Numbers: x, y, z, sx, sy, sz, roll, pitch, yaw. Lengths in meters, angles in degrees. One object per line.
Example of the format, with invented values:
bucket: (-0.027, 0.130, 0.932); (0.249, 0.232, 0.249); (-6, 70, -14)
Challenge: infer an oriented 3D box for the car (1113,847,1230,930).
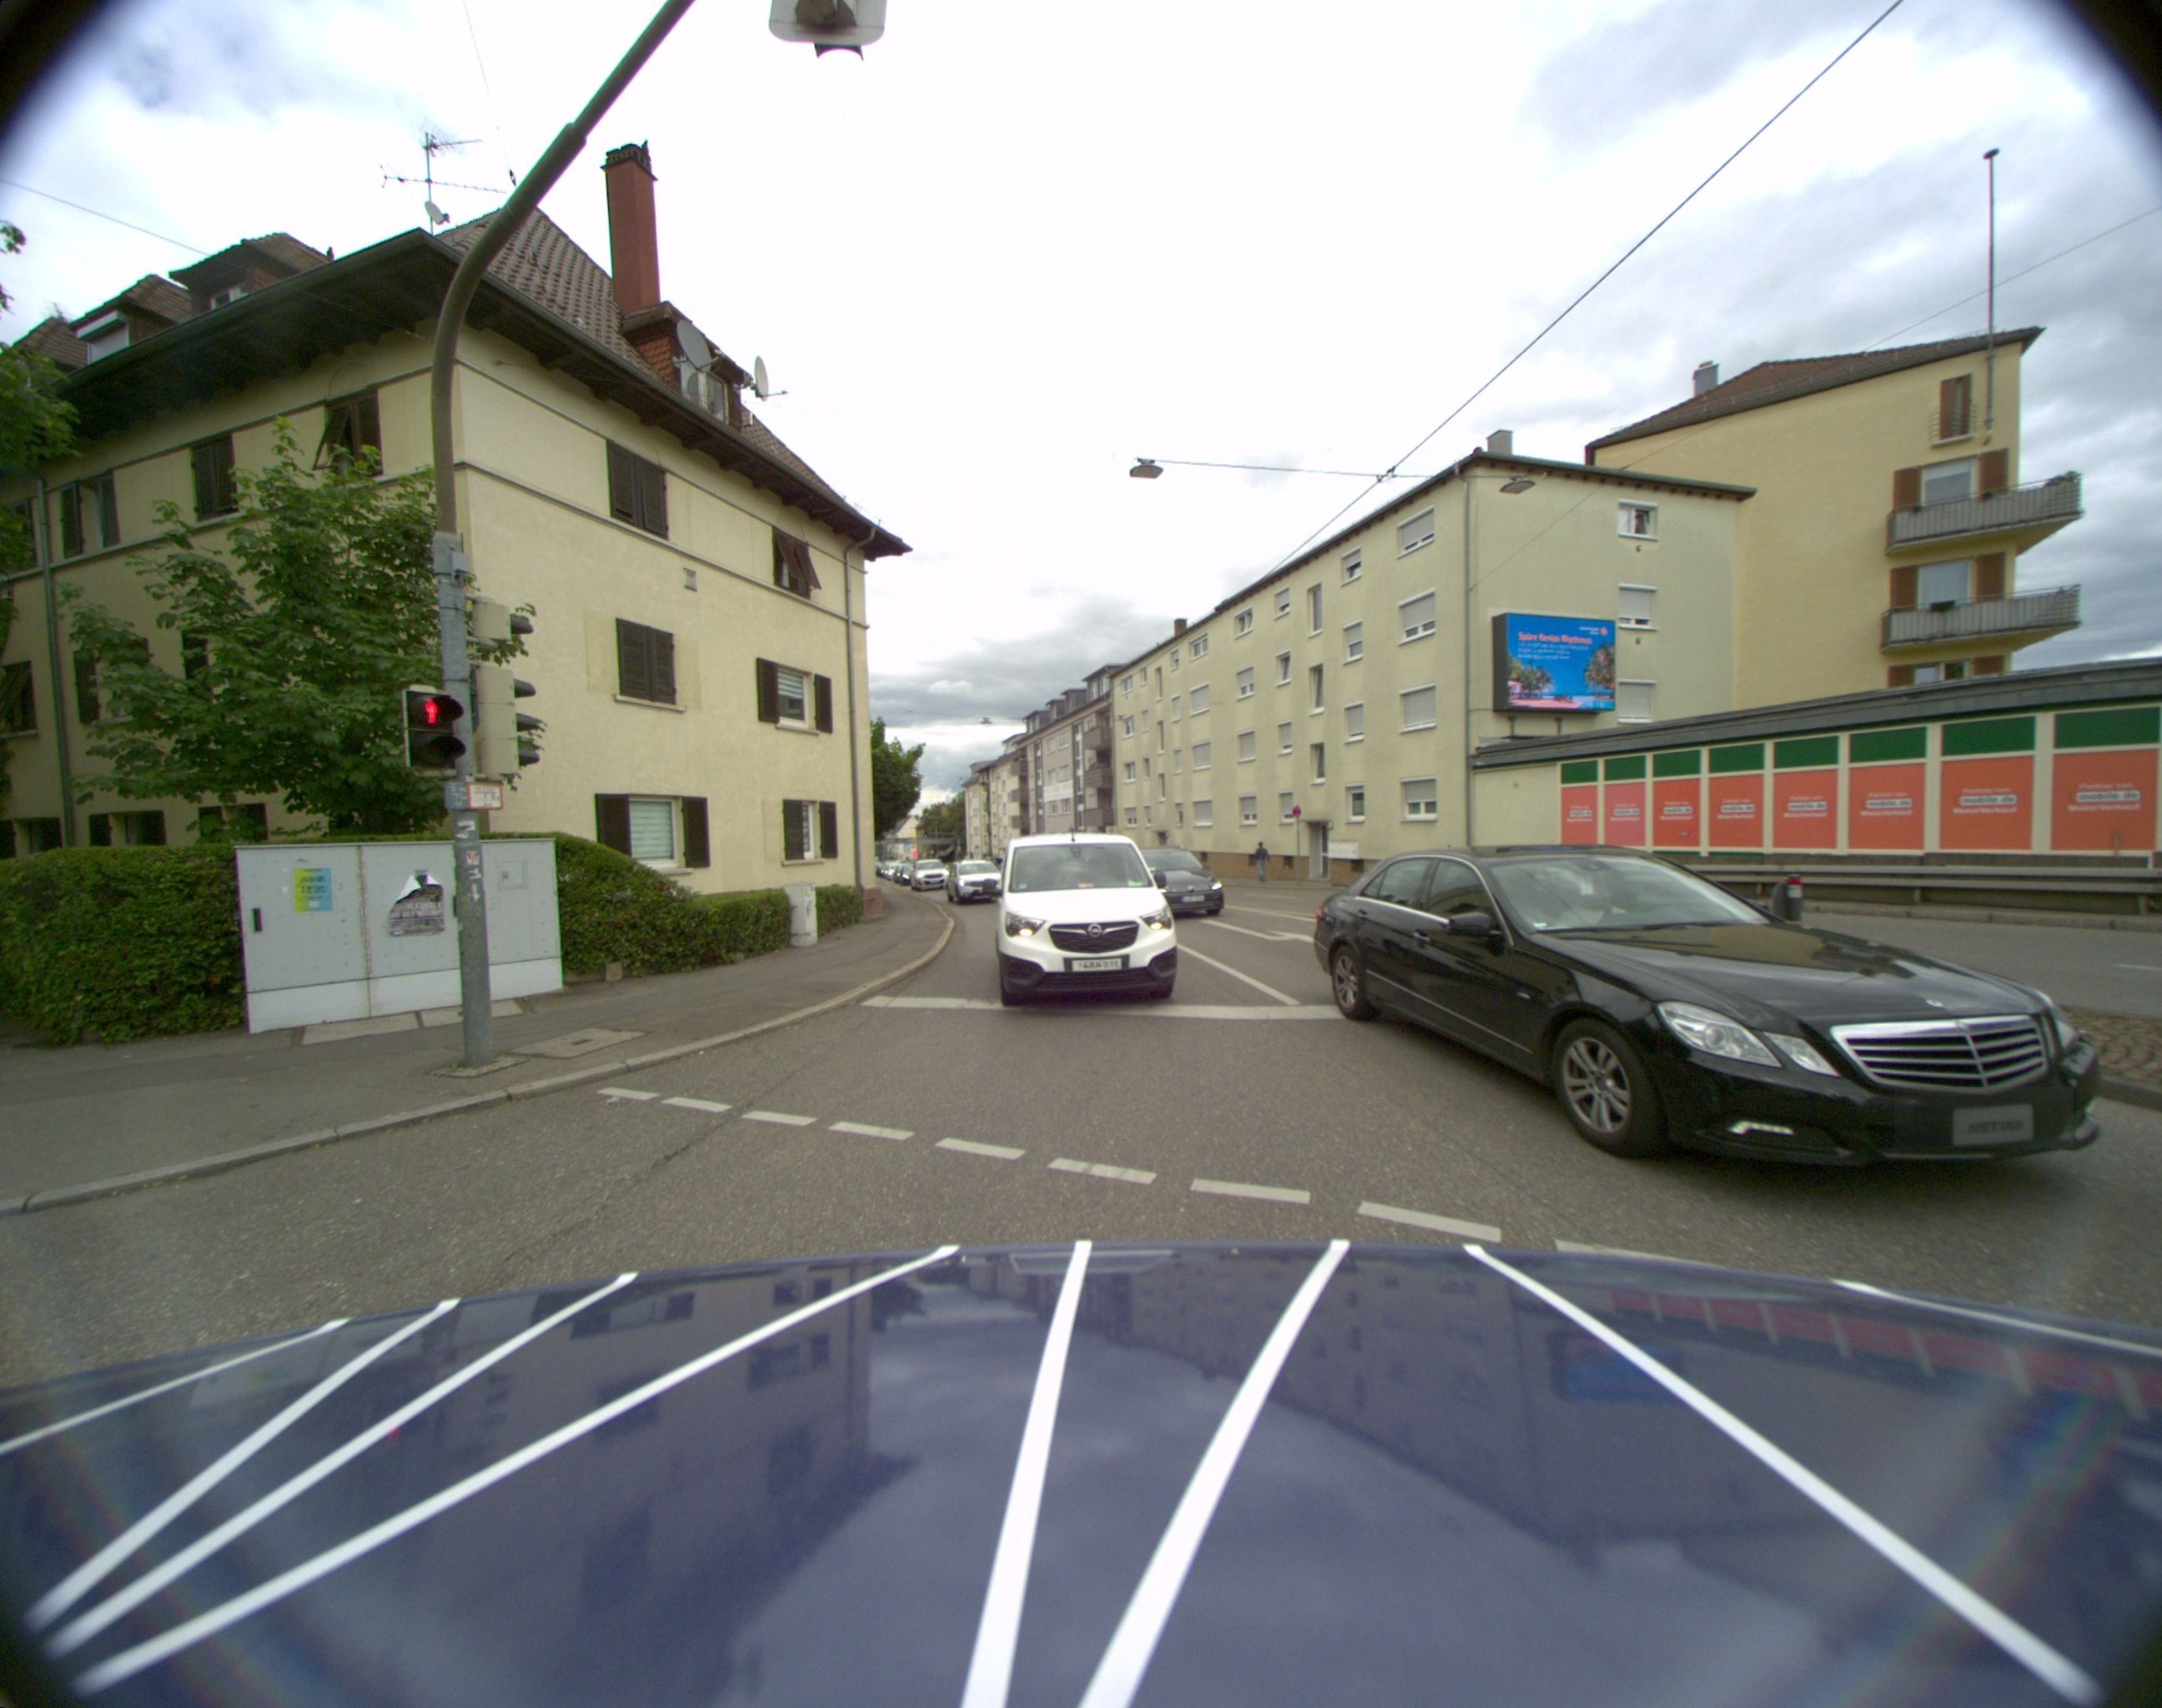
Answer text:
car: (2.002, 0.688, 18.146); (1.863, 1.601, 4.477); (-3, 1, -4)

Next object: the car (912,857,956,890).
car: (-8.089, 1.027, 41.524); (1.902, 1.635, 3.994); (-3, 1, -17)

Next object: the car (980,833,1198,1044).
car: (-0.134, 0.716, 9.155); (1.863, 1.772, 4.708); (-3, 1, -5)

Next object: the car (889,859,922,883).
car: (-12.302, 1.211, 53.173); (1.902, 1.572, 3.995); (-1, -1, -17)

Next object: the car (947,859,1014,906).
car: (-3.751, 0.981, 27.841); (1.901, 1.501, 4.162); (-3, 0, -14)

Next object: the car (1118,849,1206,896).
car: (2.940, 0.656, 28.464); (1.794, 1.522, 4.030); (-3, 0, -17)

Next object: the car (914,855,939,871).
car: (-15.174, 0.863, 74.439); (1.884, 1.347, 4.139); (-4, 1, -18)

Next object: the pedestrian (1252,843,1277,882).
pedestrian: (7.812, 0.350, 32.389); (0.690, 1.627, 0.778); (-3, 1, -17)

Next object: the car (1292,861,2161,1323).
car: (3.247, 0.837, 5.069); (1.999, 1.420, 4.840); (-3, 0, -4)

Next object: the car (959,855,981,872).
car: (-10.285, 0.852, 70.387); (1.604, 1.439, 3.525); (-1, 0, -15)
